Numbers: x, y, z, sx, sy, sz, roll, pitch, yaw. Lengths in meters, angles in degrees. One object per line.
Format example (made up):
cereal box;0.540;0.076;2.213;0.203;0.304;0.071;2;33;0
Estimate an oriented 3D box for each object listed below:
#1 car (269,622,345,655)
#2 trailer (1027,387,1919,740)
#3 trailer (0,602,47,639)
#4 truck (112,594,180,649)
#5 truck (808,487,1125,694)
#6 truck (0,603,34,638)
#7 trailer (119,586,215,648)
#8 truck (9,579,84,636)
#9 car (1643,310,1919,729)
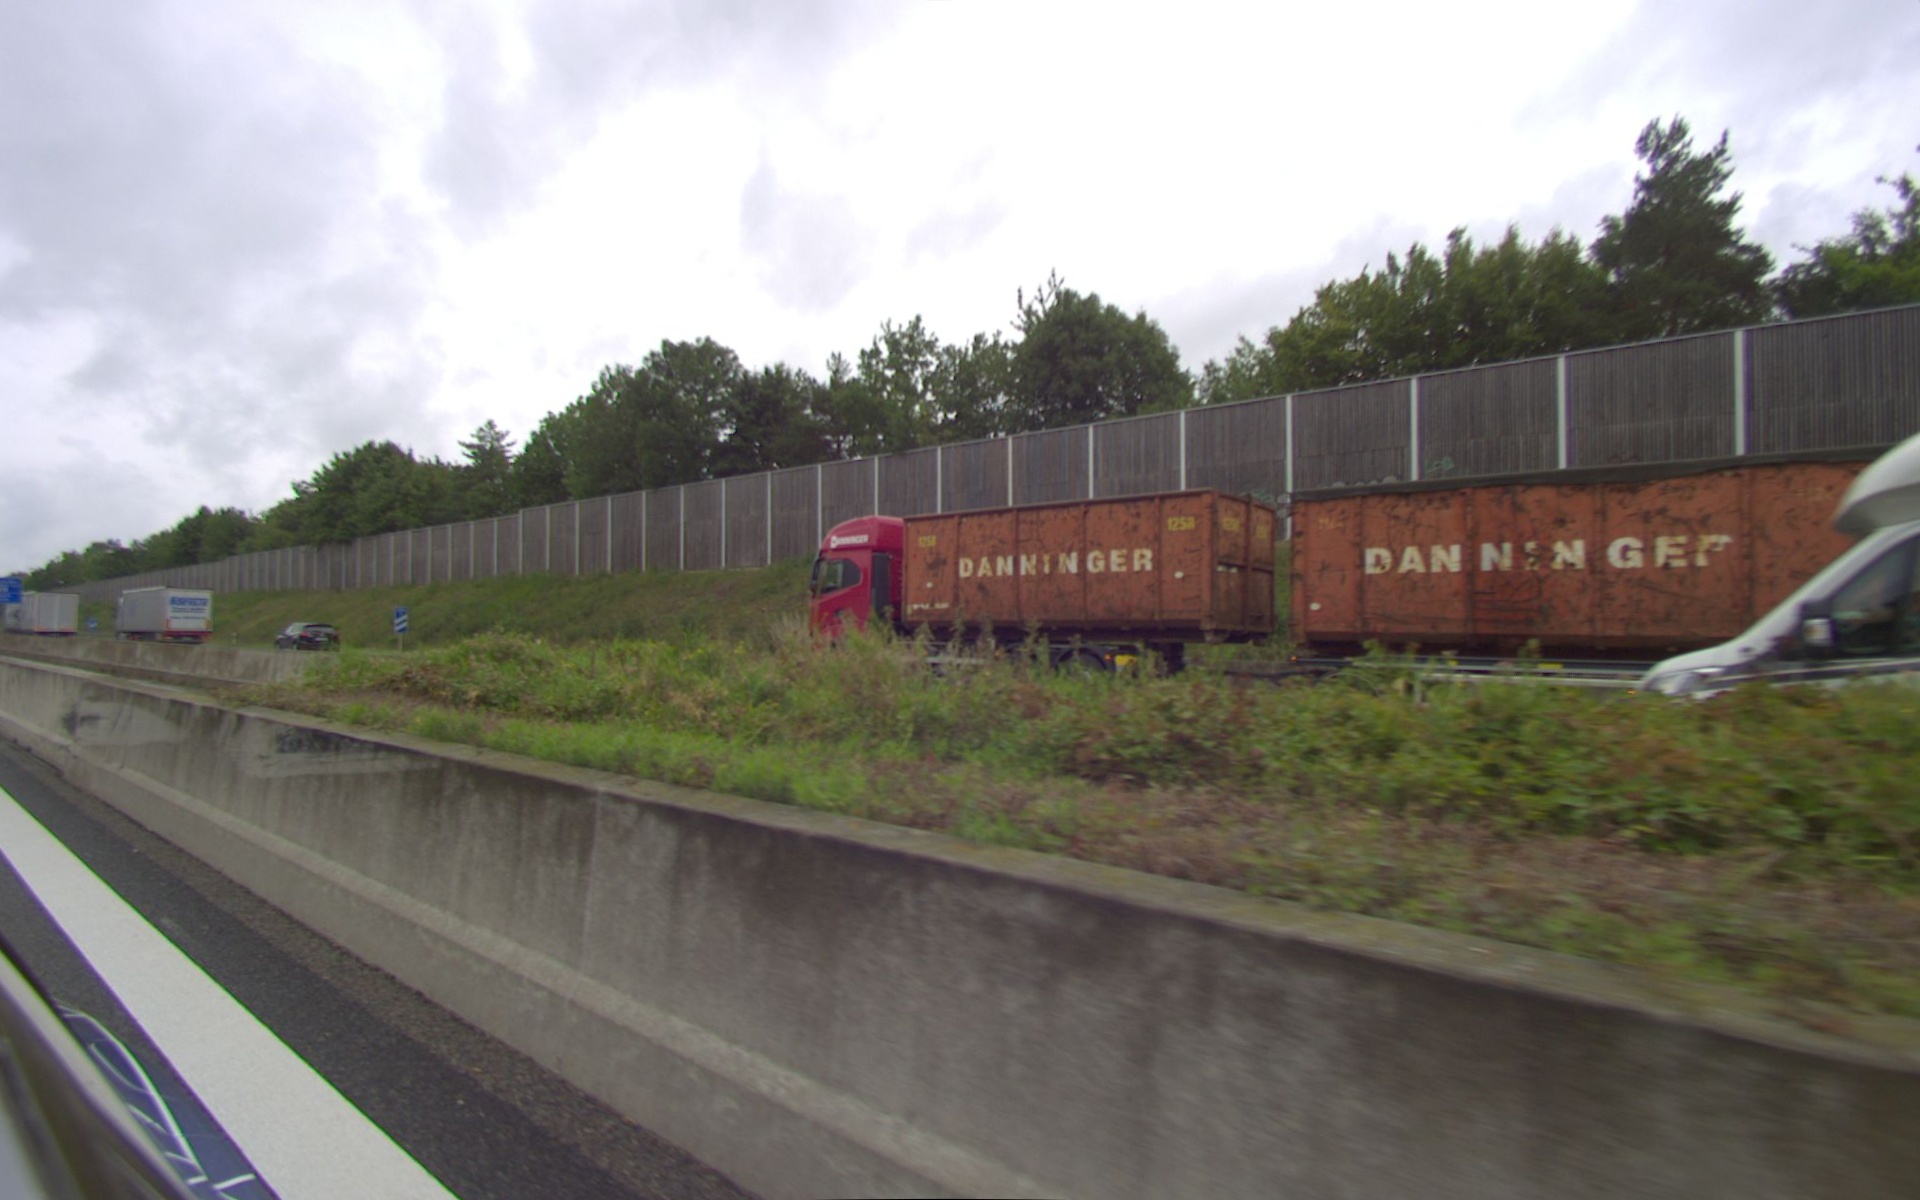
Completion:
car;-32.068;1.859;49.629;4.479;1.549;1.973;-1;-2;41
trailer;6.810;-0.276;15.313;12.557;3.712;2.698;-1;-2;41
trailer;-116.787;2.510;125.911;14.331;4.358;3.057;-1;-1;41
truck;-59.315;1.591;73.704;5.886;3.825;2.858;-1;-2;41
truck;-0.042;-0.162;21.345;6.477;3.734;2.668;-1;0;41
truck;-121.846;2.592;130.351;6.095;4.358;3.057;-1;-1;41
trailer;-54.806;1.223;69.747;12.437;3.966;2.873;-1;-2;41
truck;-74.601;0.599;82.553;12.675;4.357;3.118;-1;1;42
car;7.817;-0.445;4.486;7.720;2.209;2.349;-1;-1;41
